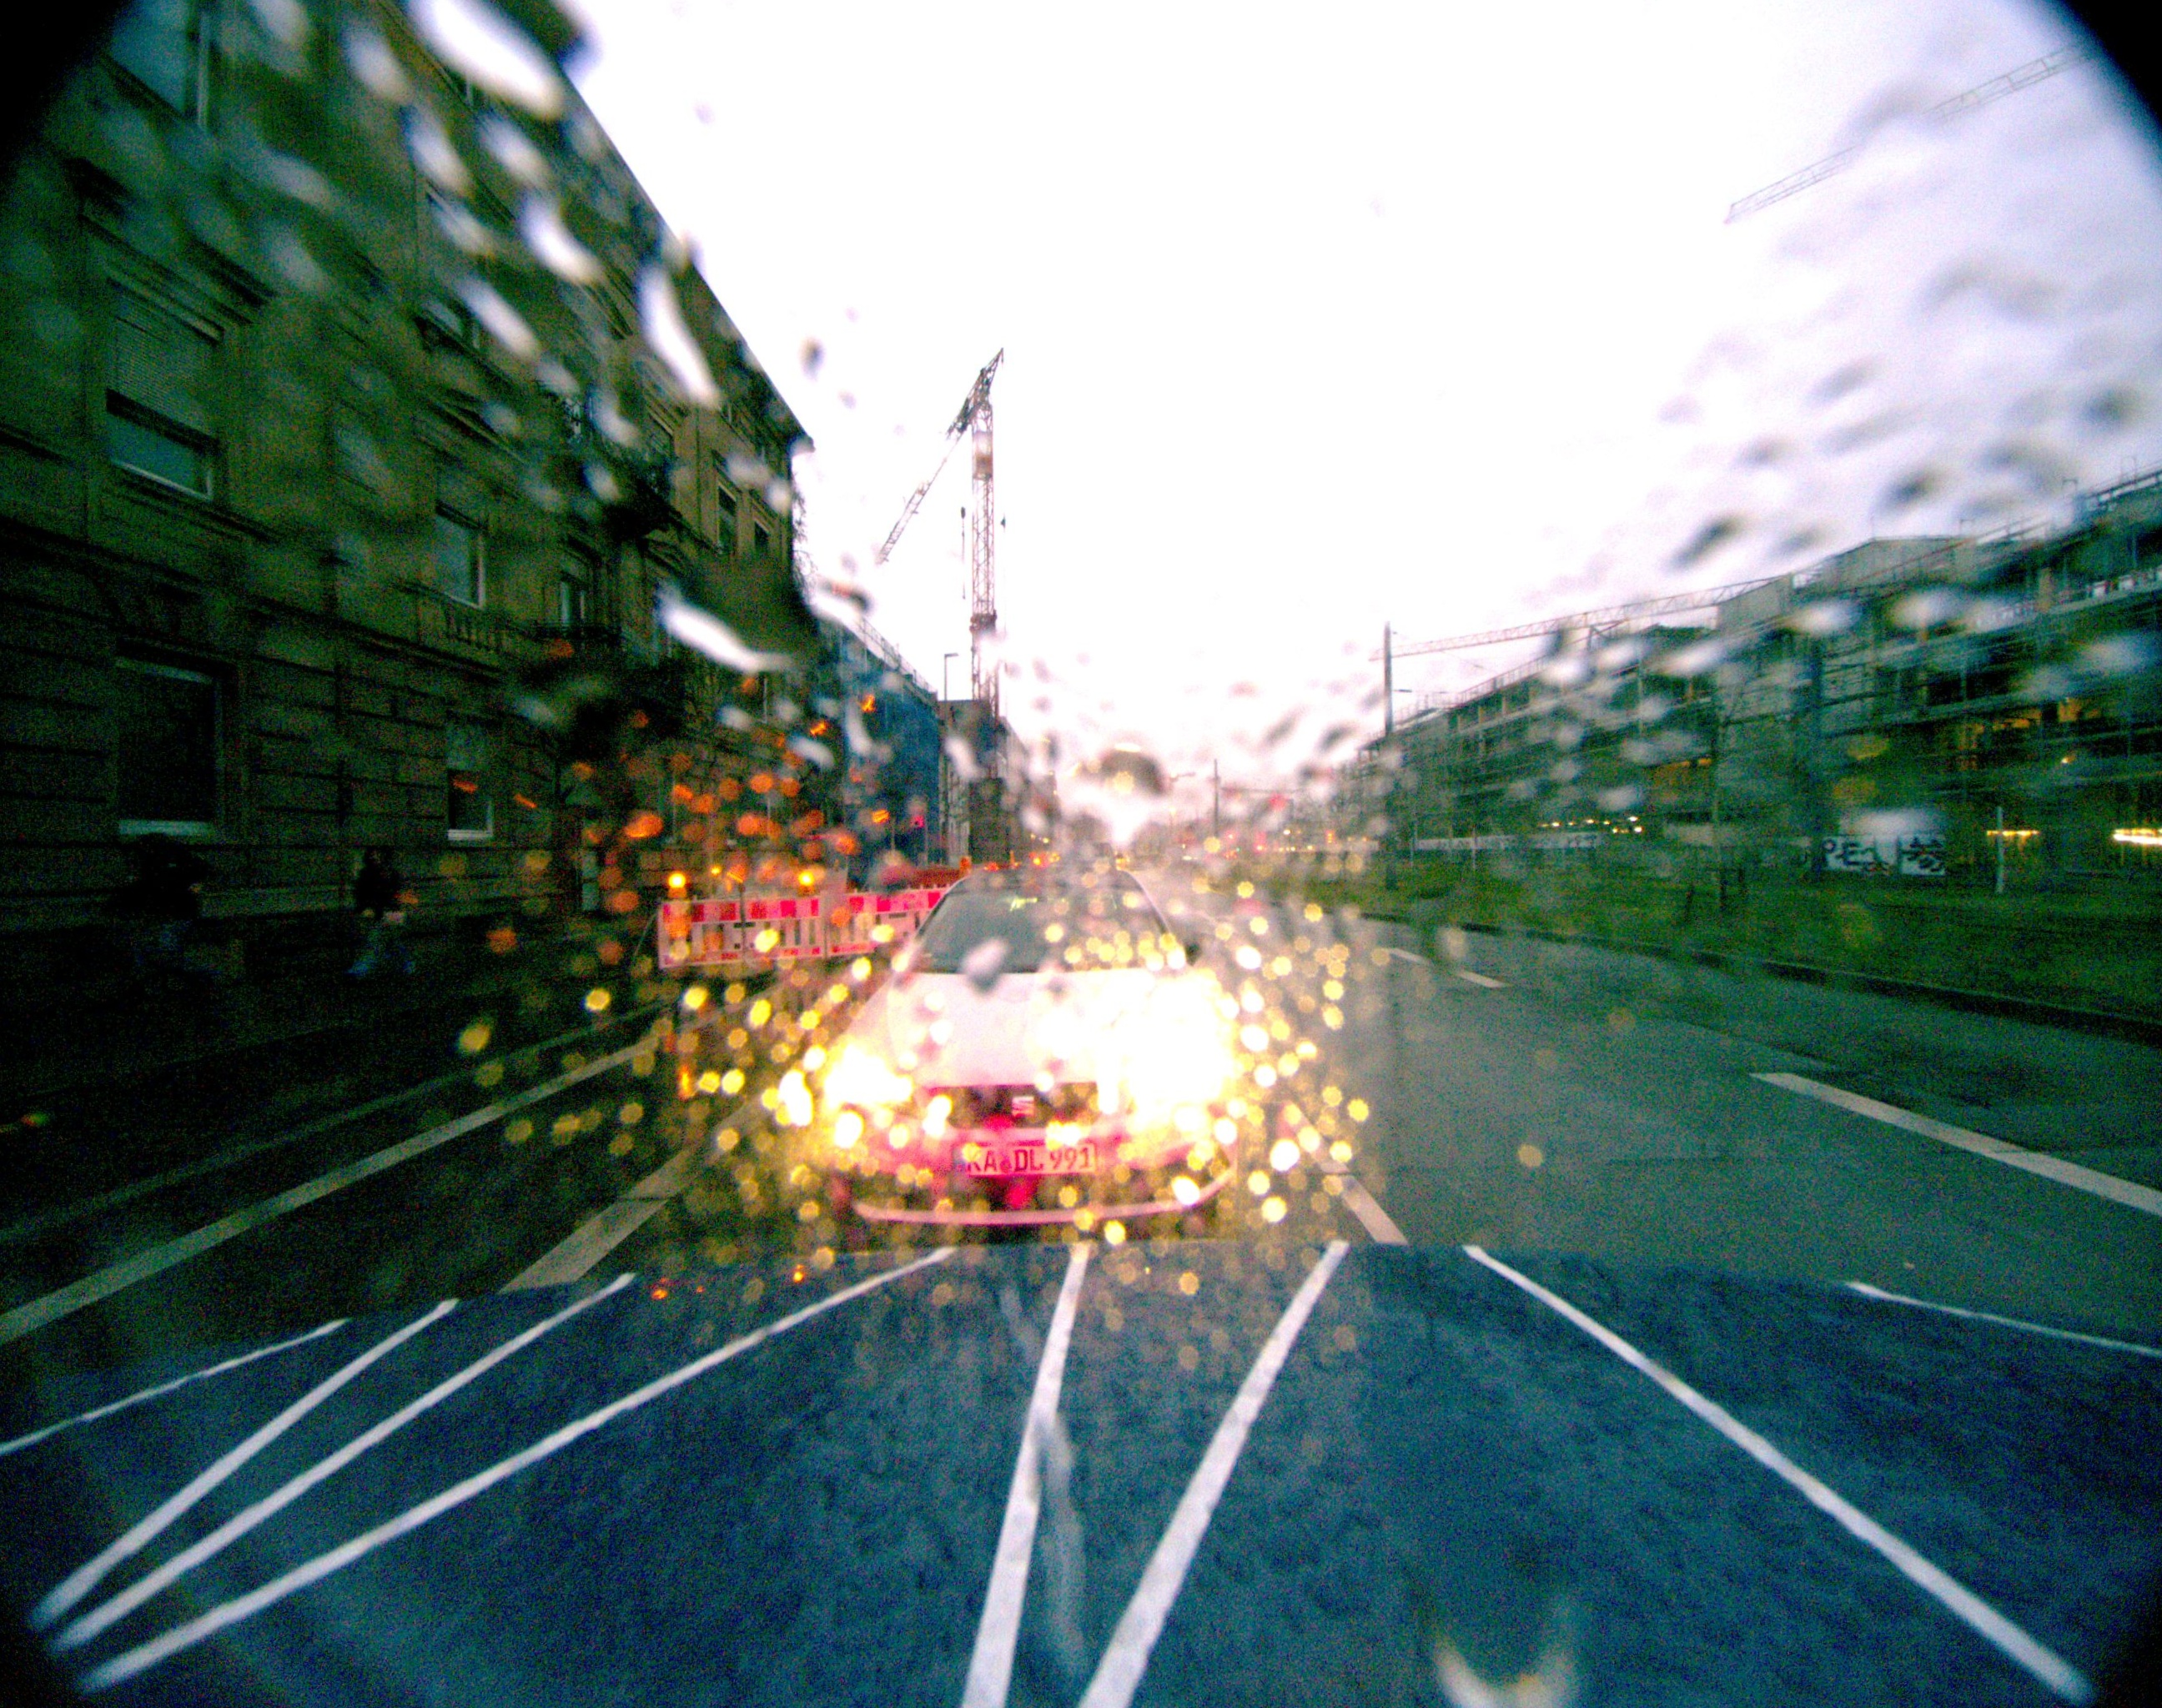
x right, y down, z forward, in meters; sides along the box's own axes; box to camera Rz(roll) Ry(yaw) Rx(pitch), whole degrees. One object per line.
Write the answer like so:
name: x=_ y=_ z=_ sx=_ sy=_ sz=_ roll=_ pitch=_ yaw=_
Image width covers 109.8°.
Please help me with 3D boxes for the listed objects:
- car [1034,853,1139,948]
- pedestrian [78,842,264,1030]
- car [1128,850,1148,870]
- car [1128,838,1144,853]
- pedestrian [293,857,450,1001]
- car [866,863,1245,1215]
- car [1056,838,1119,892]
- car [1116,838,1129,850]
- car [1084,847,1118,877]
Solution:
car: x=0.096 y=0.805 z=15.215 sx=1.769 sy=1.504 sz=3.899 roll=-3 pitch=1 yaw=0
pedestrian: x=-8.464 y=0.729 z=7.103 sx=0.870 sy=1.663 sz=0.707 roll=0 pitch=1 yaw=4
car: x=5.199 y=0.512 z=69.690 sx=1.768 sy=1.614 sz=3.900 roll=-3 pitch=1 yaw=4
car: x=6.302 y=-1.008 z=87.357 sx=1.768 sy=1.614 sz=3.900 roll=-3 pitch=1 yaw=4
pedestrian: x=-8.009 y=0.809 z=8.625 sx=0.870 sy=1.536 sz=0.929 roll=0 pitch=1 yaw=1
car: x=-0.126 y=0.926 z=5.634 sx=1.769 sy=1.504 sz=3.899 roll=-3 pitch=1 yaw=0
car: x=0.181 y=0.277 z=24.222 sx=1.769 sy=1.504 sz=3.899 roll=-3 pitch=1 yaw=0
car: x=5.903 y=-1.398 z=107.049 sx=1.768 sy=1.614 sz=3.900 roll=-3 pitch=1 yaw=4
car: x=1.113 y=0.424 z=44.137 sx=1.769 sy=1.504 sz=3.899 roll=-3 pitch=1 yaw=0
